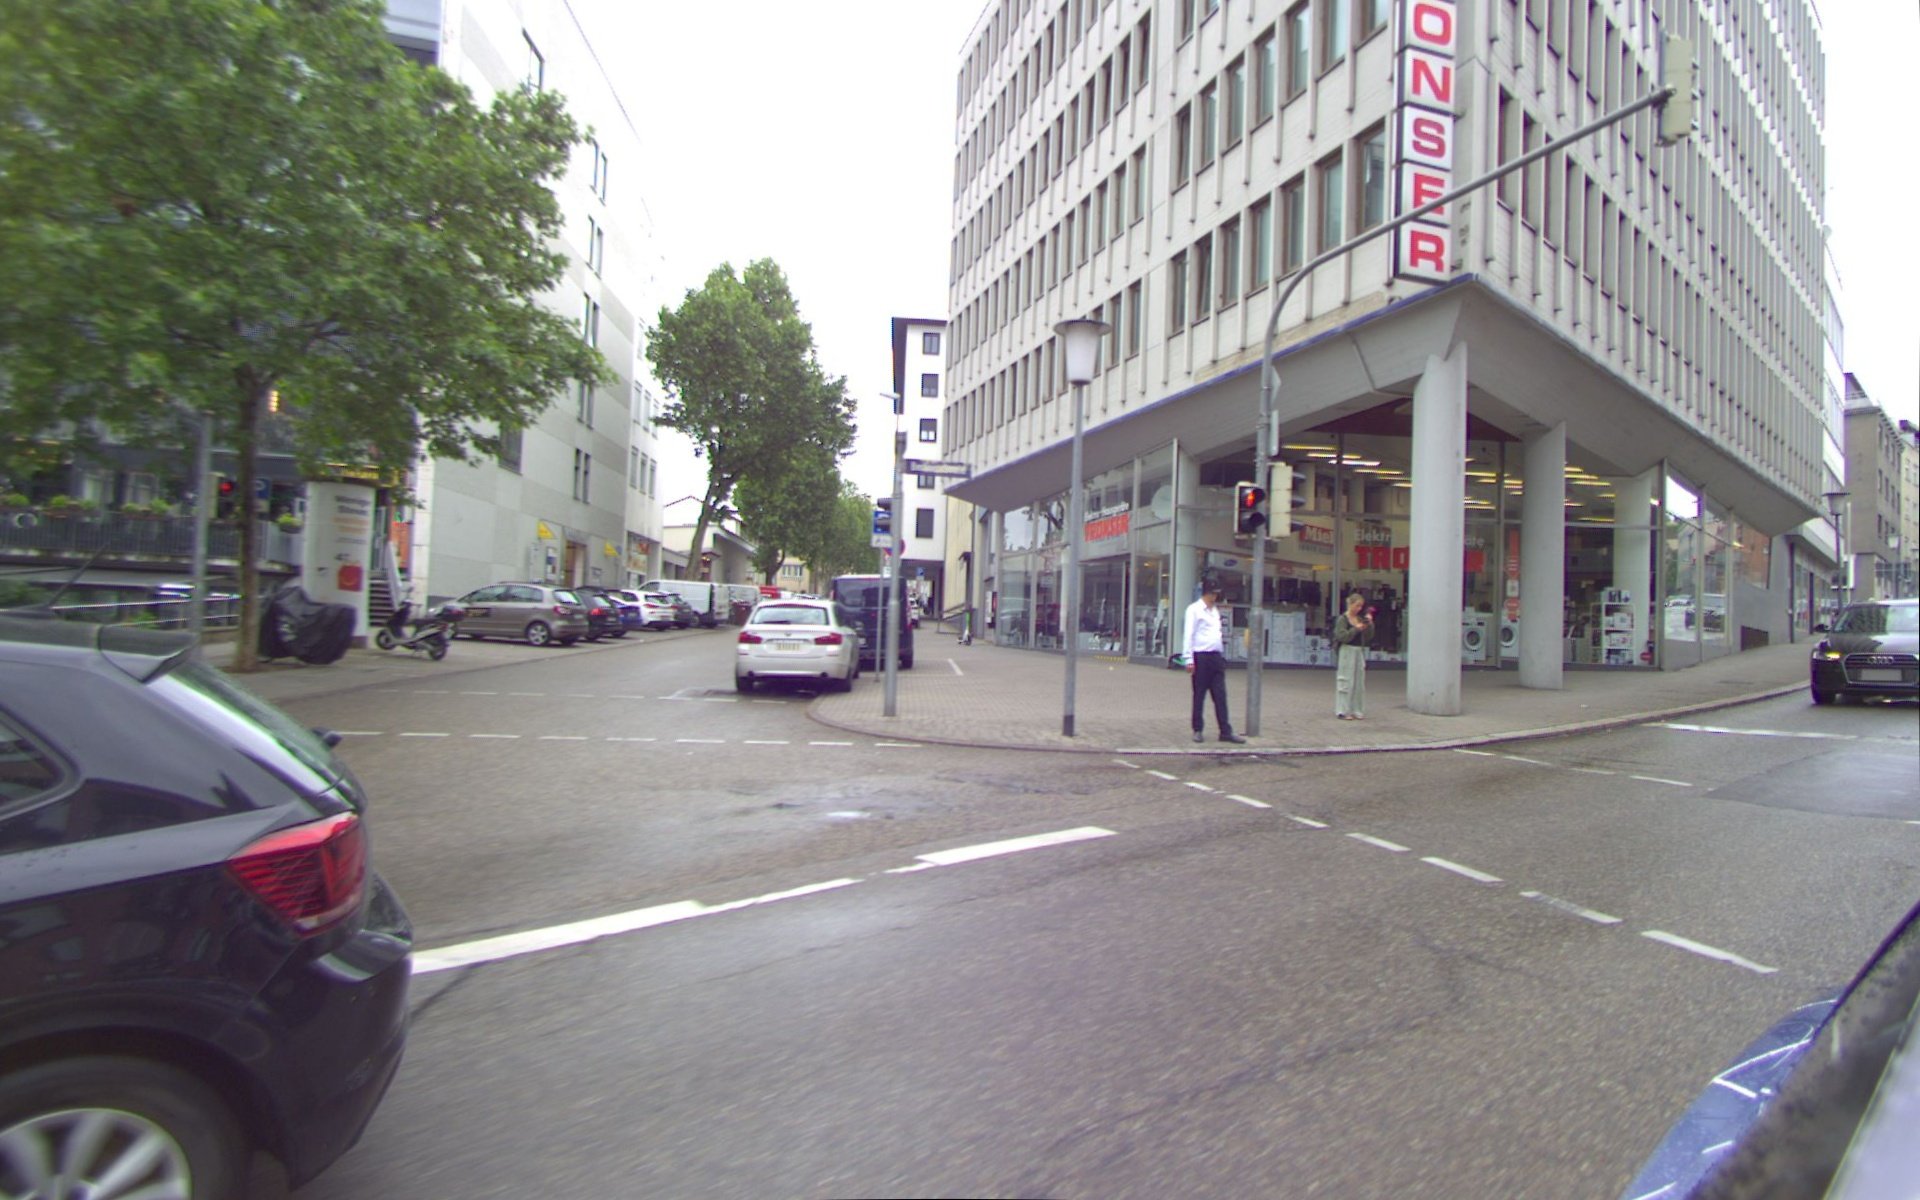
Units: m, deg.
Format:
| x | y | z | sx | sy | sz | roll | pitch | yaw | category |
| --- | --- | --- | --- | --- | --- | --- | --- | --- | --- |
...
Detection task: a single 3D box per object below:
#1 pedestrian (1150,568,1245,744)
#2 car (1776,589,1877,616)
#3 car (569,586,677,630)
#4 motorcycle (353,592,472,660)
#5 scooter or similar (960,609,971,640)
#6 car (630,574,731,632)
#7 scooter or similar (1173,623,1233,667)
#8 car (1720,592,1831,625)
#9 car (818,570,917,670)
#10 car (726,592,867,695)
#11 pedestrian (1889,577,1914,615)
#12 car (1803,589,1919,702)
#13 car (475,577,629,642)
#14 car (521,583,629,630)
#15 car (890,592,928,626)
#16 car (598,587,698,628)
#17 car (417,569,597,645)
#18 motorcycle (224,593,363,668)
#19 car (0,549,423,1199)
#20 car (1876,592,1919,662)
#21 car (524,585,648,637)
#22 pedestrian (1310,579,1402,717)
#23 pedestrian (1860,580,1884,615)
| x | y | z | sx | sy | sz | roll | pitch | yaw | category |
| --- | --- | --- | --- | --- | --- | --- | --- | --- | --- |
| 2.619 | 0.569 | 11.154 | 0.720 | 1.840 | 0.818 | 2 | 2 | 40 | pedestrian |
| 55.092 | 0.173 | 64.414 | 1.964 | 1.523 | 4.529 | 0 | -2 | -39 | car |
| -12.631 | 0.281 | 37.973 | 3.643 | 1.573 | 1.617 | 0 | 0 | 20 | car |
| -10.622 | 0.491 | 19.640 | 2.060 | 1.130 | 0.627 | 4 | 0 | 12 | motorcycle |
| 0.183 | 0.817 | 33.589 | 0.215 | 1.012 | 0.816 | 0 | 0 | -10 | scooter or similar |
| -12.034 | 0.106 | 43.669 | 3.788 | 2.430 | 1.897 | 0 | 0 | 12 | car |
| 4.780 | 0.883 | 19.904 | 1.104 | 0.835 | 0.308 | 0 | 0 | -1 | scooter or similar |
| 39.658 | 0.401 | 49.325 | 3.967 | 1.549 | 1.744 | -1 | 0 | 31 | car |
| -2.227 | 0.376 | 23.117 | 1.921 | 2.023 | 4.814 | -1 | 1 | -9 | car |
| -2.653 | 0.638 | 17.470 | 1.821 | 1.513 | 4.854 | -1 | 0 | -2 | car |
| 43.532 | -0.183 | 46.796 | 0.784 | 1.727 | 1.103 | 1 | 1 | 43 | pedestrian |
| 14.987 | 0.651 | 15.702 | 4.121 | 1.580 | 1.829 | 0 | -2 | -34 | car |
| -11.656 | 0.242 | 29.018 | 3.782 | 1.572 | 1.623 | 4 | 1 | 11 | car |
| -13.700 | 0.216 | 35.988 | 3.655 | 1.573 | 1.612 | 0 | 0 | 28 | car |
| -2.920 | 0.454 | 56.784 | 1.960 | 1.803 | 4.004 | 0 | 1 | -5 | car |
| -12.593 | 0.326 | 40.893 | 3.643 | 1.574 | 1.616 | 0 | -2 | 20 | car |
| -11.675 | 0.184 | 26.205 | 3.865 | 1.656 | 1.626 | 4 | -1 | 3 | car |
| -11.371 | 0.510 | 17.302 | 1.905 | 1.131 | 0.629 | 4 | -1 | 1 | motorcycle |
| -3.210 | 0.691 | 1.603 | 3.928 | 1.496 | 1.691 | 0 | -1 | -39 | car |
| 23.274 | 0.568 | 24.264 | 1.825 | 1.561 | 4.186 | -5 | -3 | 43 | car |
| -11.881 | 0.312 | 32.123 | 3.650 | 1.573 | 1.614 | 0 | 0 | 25 | car |
| 5.096 | 0.586 | 13.049 | 0.812 | 1.710 | 0.725 | 0 | 2 | -22 | pedestrian |
| 42.167 | -0.136 | 46.795 | 0.765 | 1.570 | 0.877 | 3 | 2 | 43 | pedestrian |
